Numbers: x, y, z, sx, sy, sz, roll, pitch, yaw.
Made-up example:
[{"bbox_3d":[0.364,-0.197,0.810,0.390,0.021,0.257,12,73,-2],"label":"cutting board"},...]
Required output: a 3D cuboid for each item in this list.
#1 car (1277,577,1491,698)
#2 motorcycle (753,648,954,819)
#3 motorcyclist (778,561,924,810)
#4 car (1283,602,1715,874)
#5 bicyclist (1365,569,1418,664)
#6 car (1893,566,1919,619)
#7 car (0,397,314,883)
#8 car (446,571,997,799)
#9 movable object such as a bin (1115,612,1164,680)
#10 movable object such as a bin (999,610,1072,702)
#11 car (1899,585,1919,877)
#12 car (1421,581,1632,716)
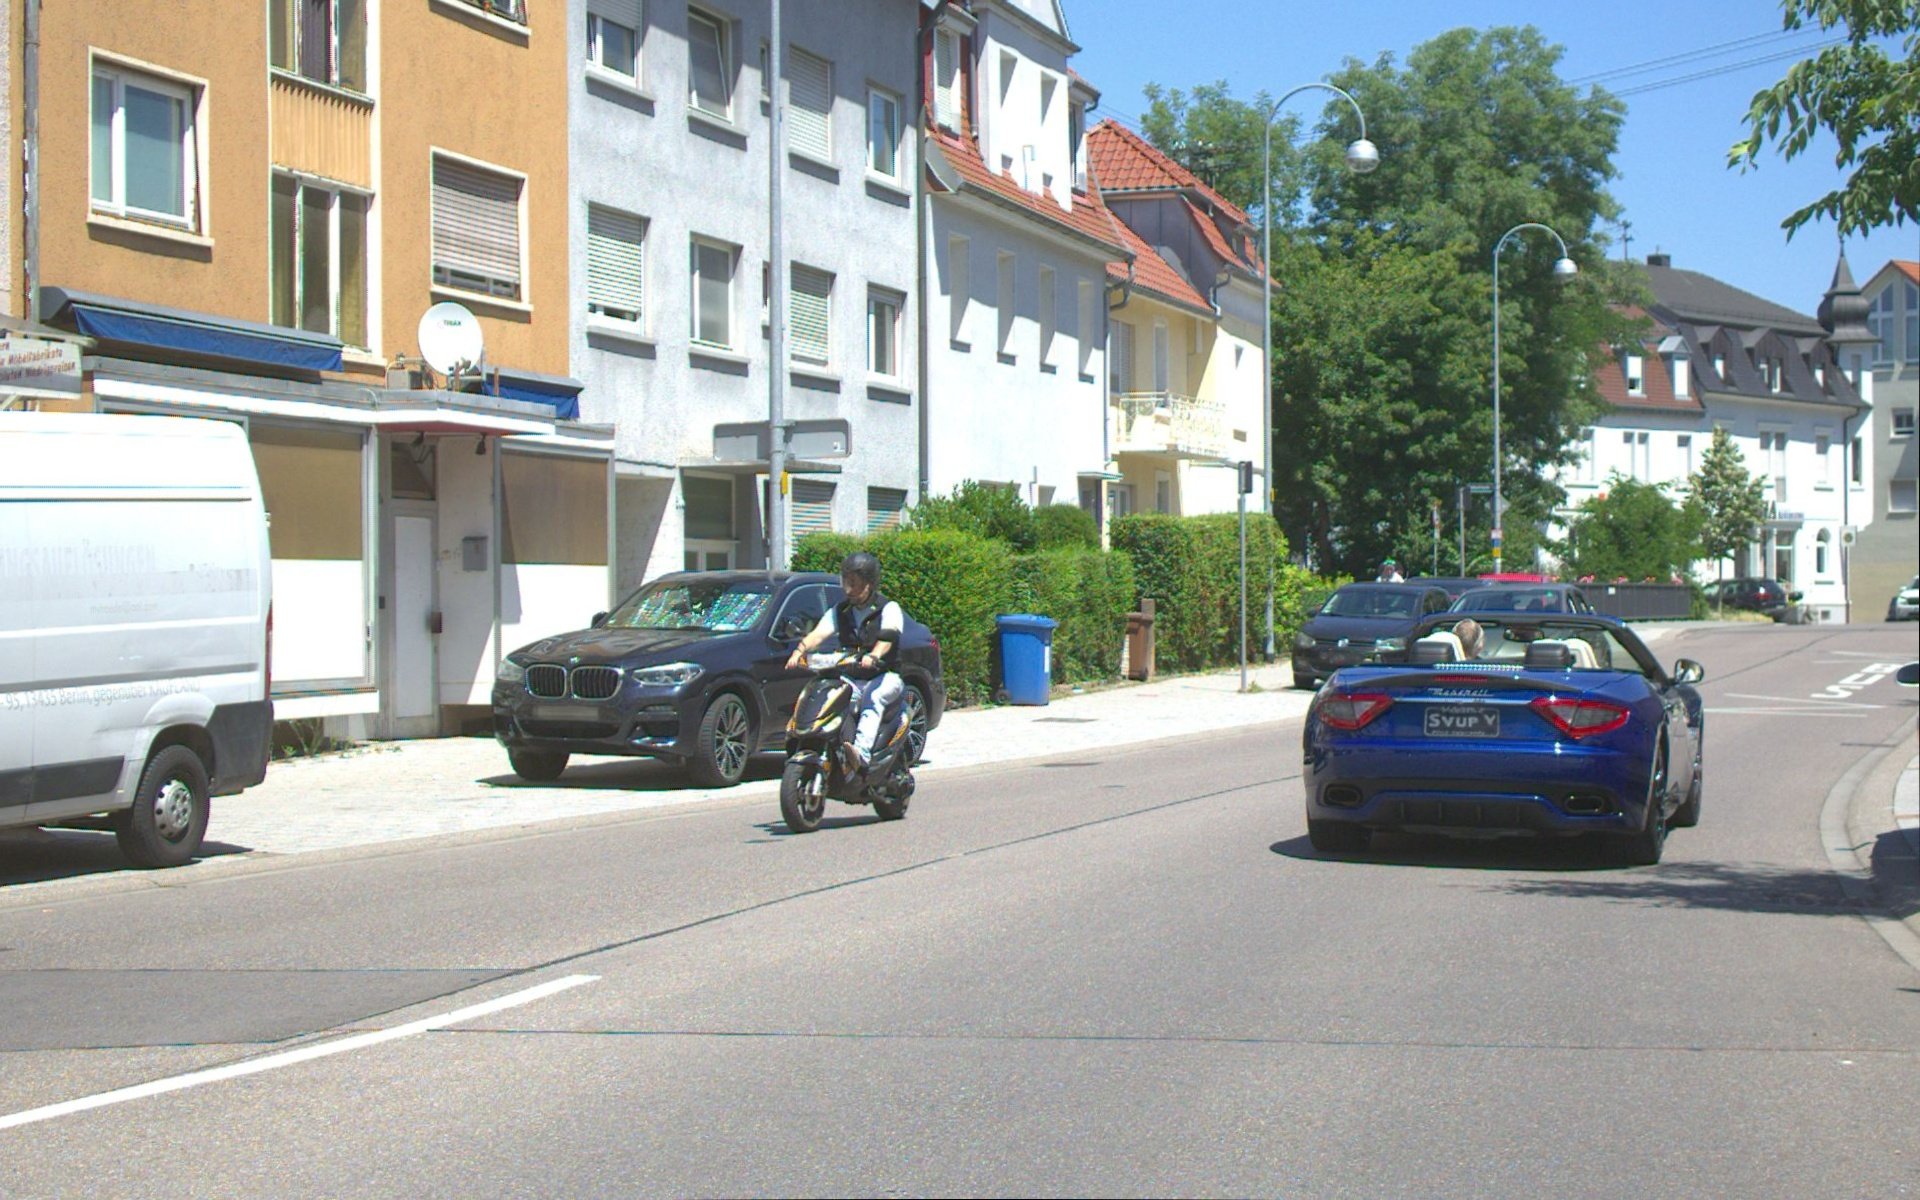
[{"bbox_3d":[5.826,0.471,46.842,1.790,1.454,4.193,3,2,22],"label":"car"},{"bbox_3d":[-0.648,0.816,21.583,0.607,0.997,1.797,-1,0,21],"label":"motorcycle"},{"bbox_3d":[-0.676,0.527,21.517,0.602,1.519,0.895,-1,0,20],"label":"motorcyclist"},{"bbox_3d":[3.224,0.725,19.782,1.872,1.338,4.592,1,0,16],"label":"car"},{"bbox_3d":[7.613,0.292,60.695,0.783,1.653,0.834,-1,0,17],"label":"bicyclist"},{"bbox_3d":[29.831,-0.256,105.953,1.879,1.591,4.356,-2,0,17],"label":"car"},{"bbox_3d":[-5.872,0.176,17.459,2.121,2.441,6.111,2,1,21],"label":"car"},{"bbox_3d":[-1.793,0.596,27.832,2.088,1.609,5.101,1,1,27],"label":"car"},{"bbox_3d":[2.454,0.630,47.049,0.494,0.908,0.705,-1,0,18],"label":"movable object such as a bin"},{"bbox_3d":[0.883,0.647,40.106,0.673,1.044,0.651,-1,0,18],"label":"movable object such as a bin"},{"bbox_3d":[6.053,0.654,18.491,1.814,1.472,4.504,-1,-1,14],"label":"car"},{"bbox_3d":[6.634,0.531,39.957,1.733,1.407,3.996,-2,0,19],"label":"car"}]
